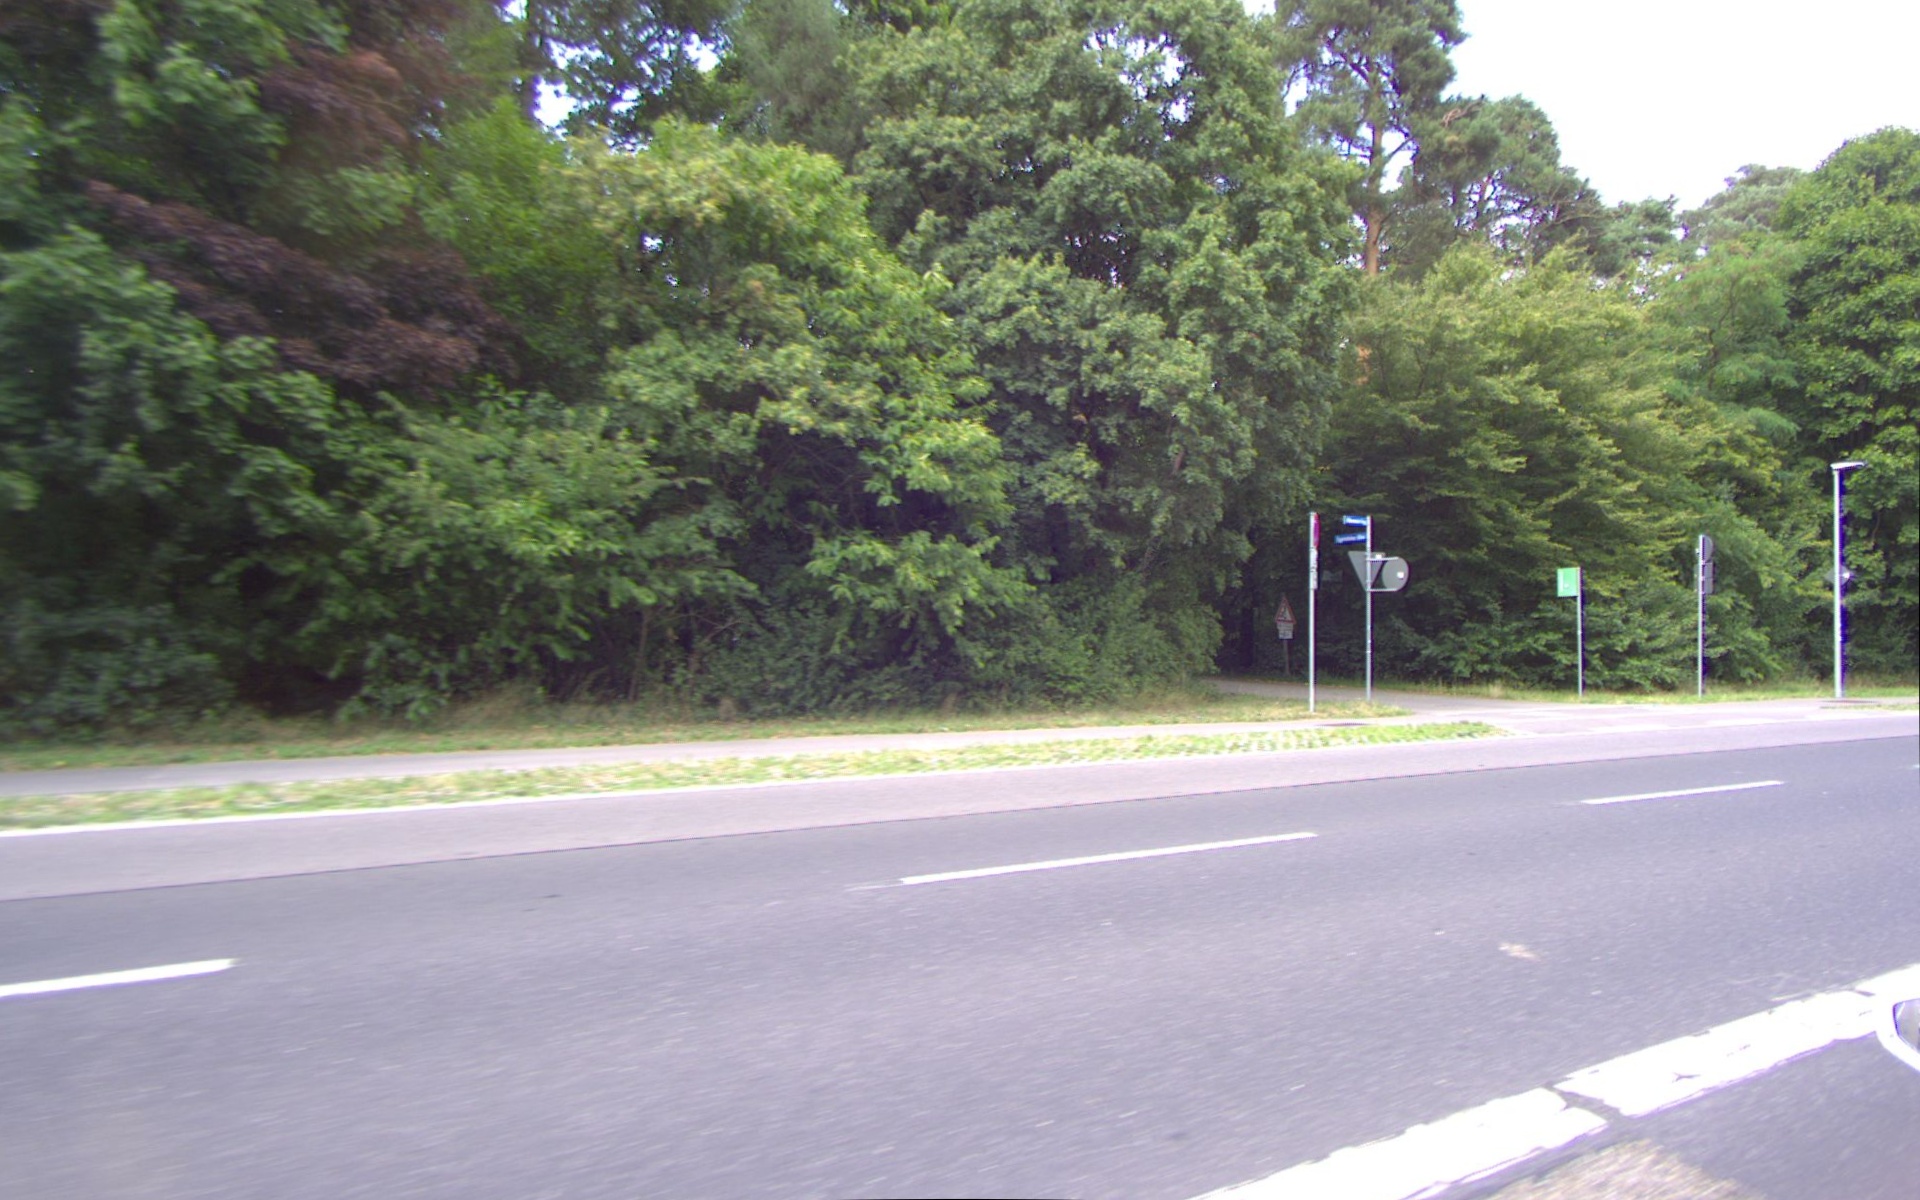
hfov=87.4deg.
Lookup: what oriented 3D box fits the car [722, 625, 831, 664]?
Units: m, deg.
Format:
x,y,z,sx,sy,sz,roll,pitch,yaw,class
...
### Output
x,y,z,sx,sy,sz,roll,pitch,yaw,class
-8.401,2.044,46.185,4.496,1.607,1.979,2,1,-36,car
